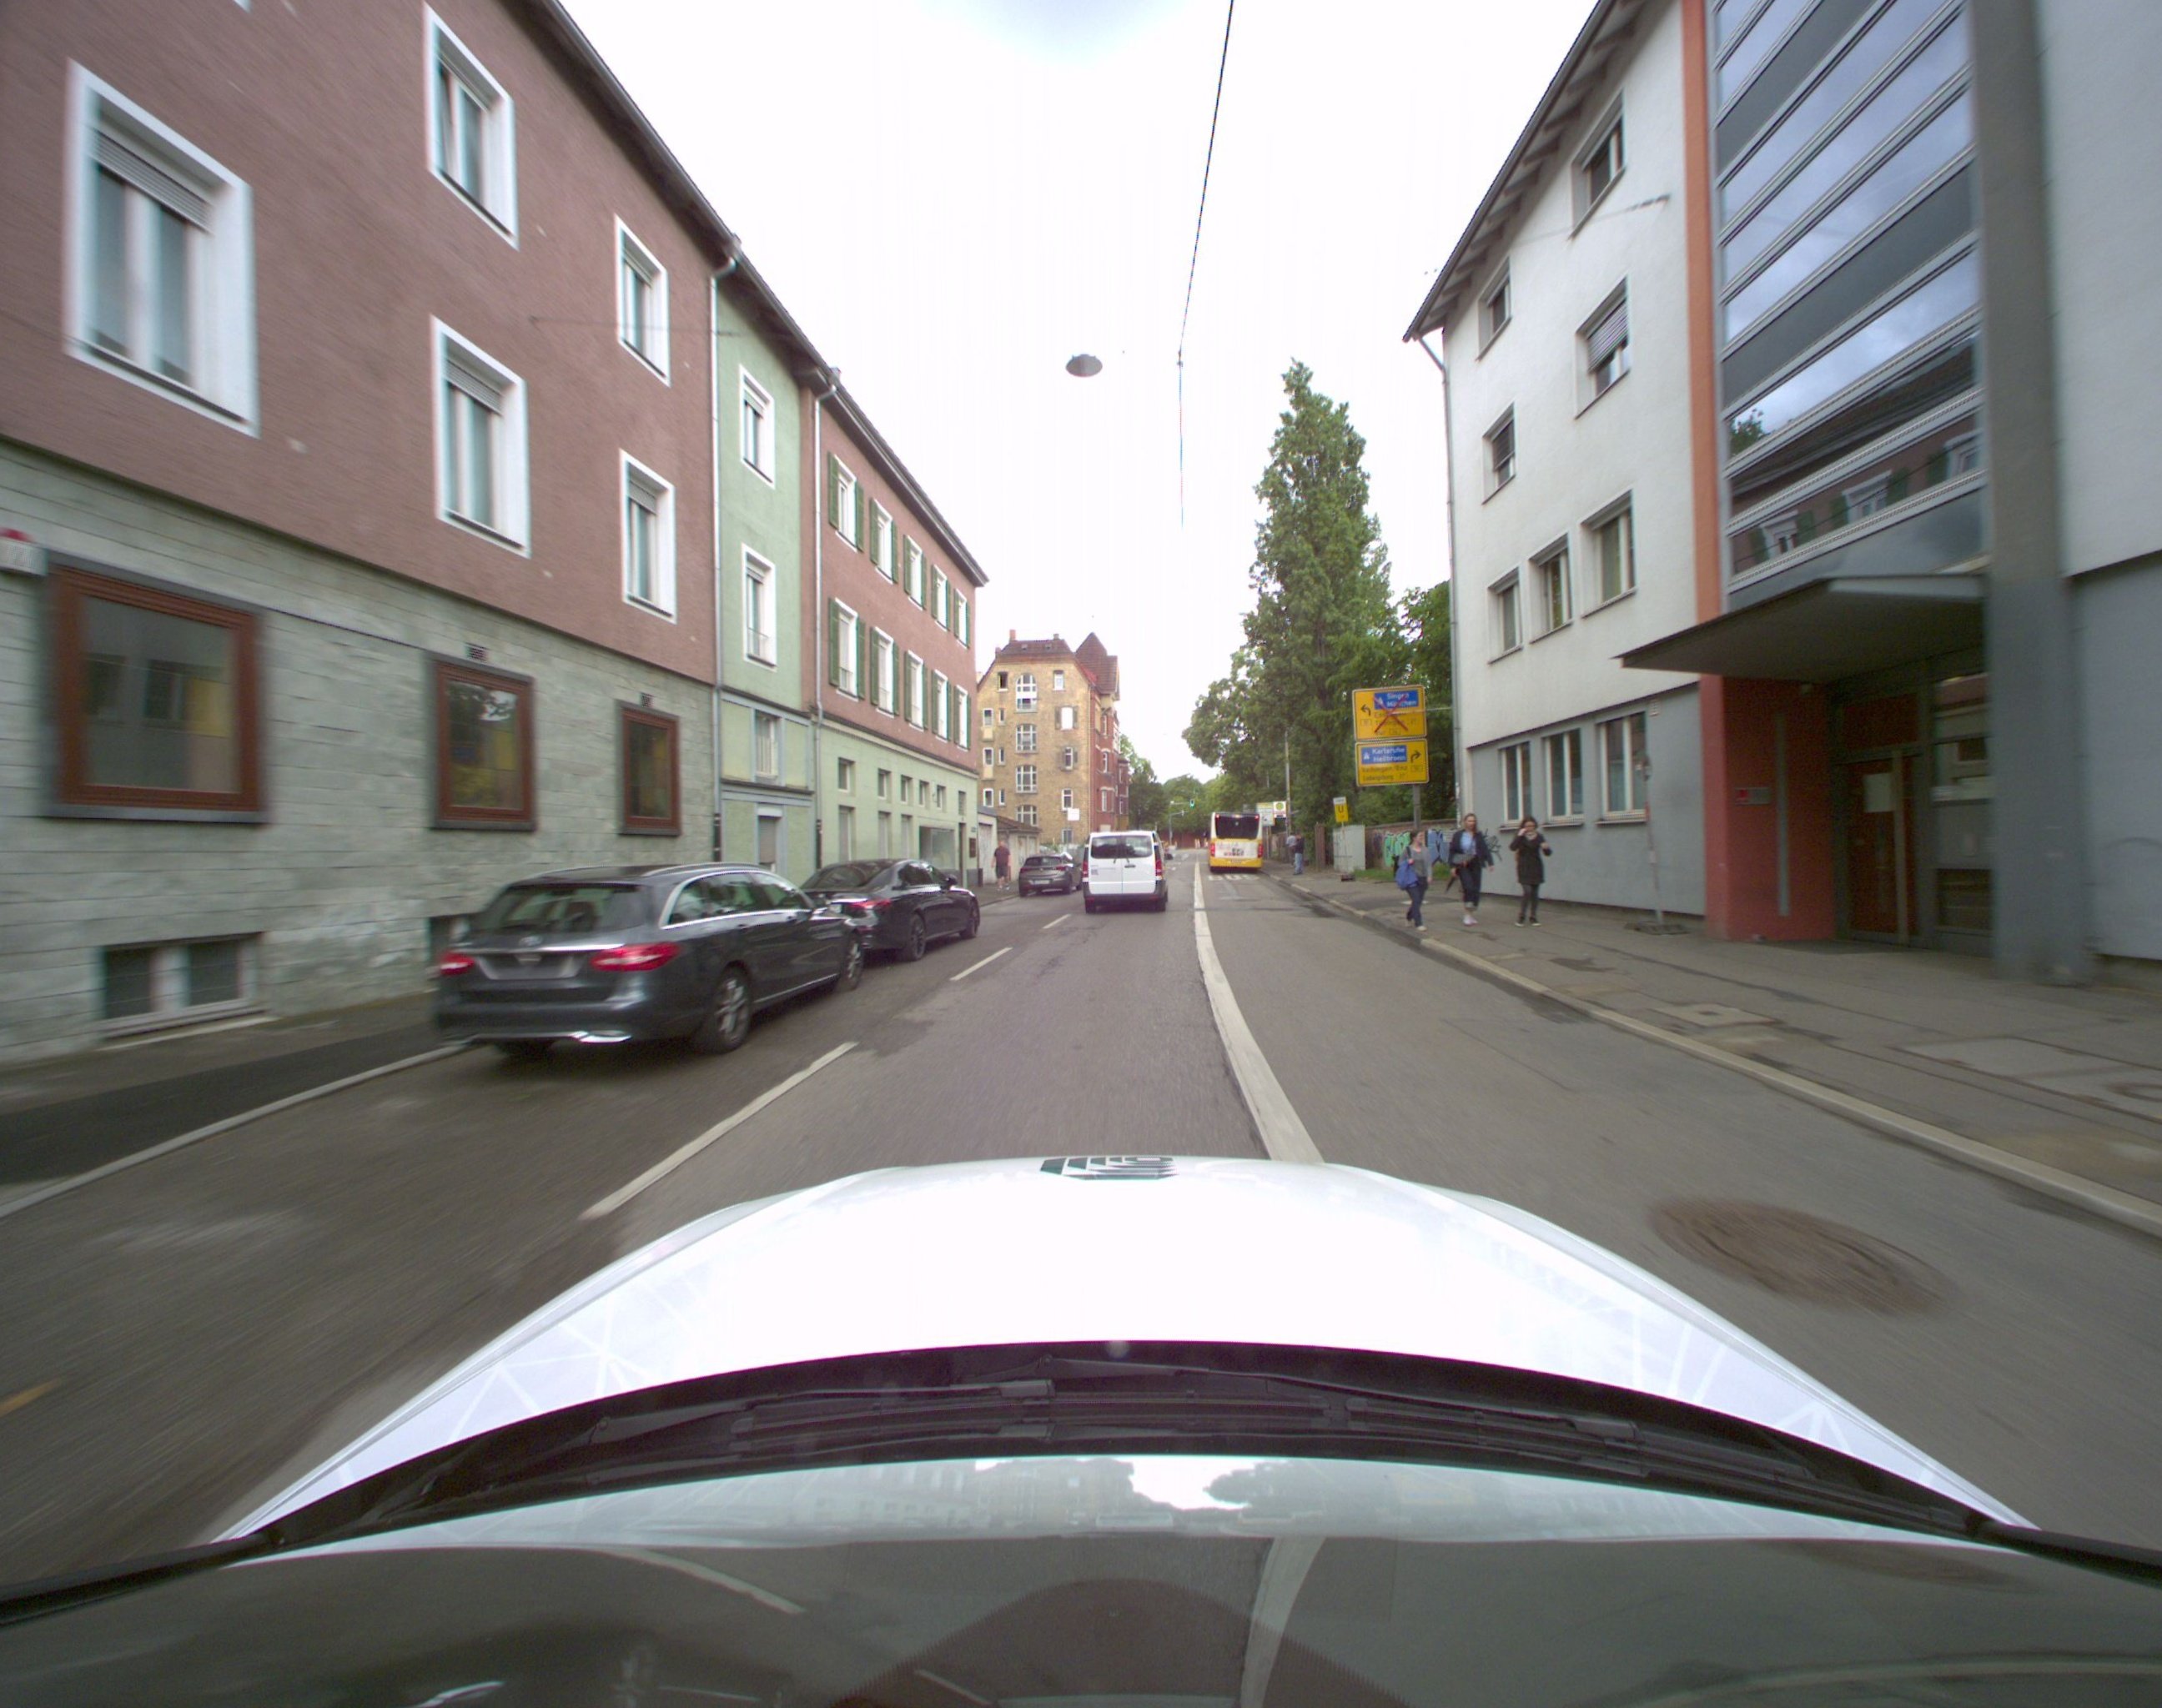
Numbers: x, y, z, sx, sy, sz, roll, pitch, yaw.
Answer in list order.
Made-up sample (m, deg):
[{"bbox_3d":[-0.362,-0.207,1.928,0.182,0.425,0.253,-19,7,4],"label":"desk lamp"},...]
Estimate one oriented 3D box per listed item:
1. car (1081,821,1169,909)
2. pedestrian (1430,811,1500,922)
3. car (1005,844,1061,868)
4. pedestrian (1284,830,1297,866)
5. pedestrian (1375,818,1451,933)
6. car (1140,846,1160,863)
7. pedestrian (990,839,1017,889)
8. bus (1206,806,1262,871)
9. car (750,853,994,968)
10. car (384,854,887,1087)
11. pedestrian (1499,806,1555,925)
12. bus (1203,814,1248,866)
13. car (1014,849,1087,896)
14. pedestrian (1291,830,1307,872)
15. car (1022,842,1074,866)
[{"bbox_3d":[1.206,0.283,20.239,1.908,1.901,4.708,1,-1,6],"label":"car"},{"bbox_3d":[6.369,0.190,13.539,0.684,1.756,0.879,-4,1,2],"label":"pedestrian"},{"bbox_3d":[-3.327,0.130,56.881,3.575,1.504,1.858,-3,0,8],"label":"car"},{"bbox_3d":[10.715,-0.301,41.574,0.448,1.779,0.673,-4,0,8],"label":"pedestrian"},{"bbox_3d":[5.488,0.329,13.503,0.800,1.793,0.943,-4,1,2],"label":"pedestrian"},{"bbox_3d":[7.029,0.012,82.481,1.714,1.485,4.403,-1,2,9],"label":"car"},{"bbox_3d":[-2.800,0.360,29.546,0.757,1.744,0.986,1,-1,6],"label":"pedestrian"},{"bbox_3d":[8.190,-0.800,44.560,2.647,3.136,10.064,1,1,9],"label":"bus"},{"bbox_3d":[-2.961,0.734,12.867,1.818,1.455,4.935,-1,0,10],"label":"car"},{"bbox_3d":[-3.401,0.759,7.474,1.821,1.455,4.589,-1,0,4],"label":"car"},{"bbox_3d":[6.808,0.164,12.446,0.538,1.756,0.611,-3,1,15],"label":"pedestrian"},{"bbox_3d":[9.466,-0.924,54.157,2.656,3.138,9.240,1,1,9],"label":"bus"},{"bbox_3d":[-0.992,0.583,29.006,1.867,1.486,4.137,1,1,8],"label":"car"},{"bbox_3d":[9.337,-0.148,34.915,0.579,1.779,0.823,1,0,8],"label":"pedestrian"},{"bbox_3d":[-2.486,-0.022,62.021,3.575,1.612,1.693,-3,0,8],"label":"car"}]
